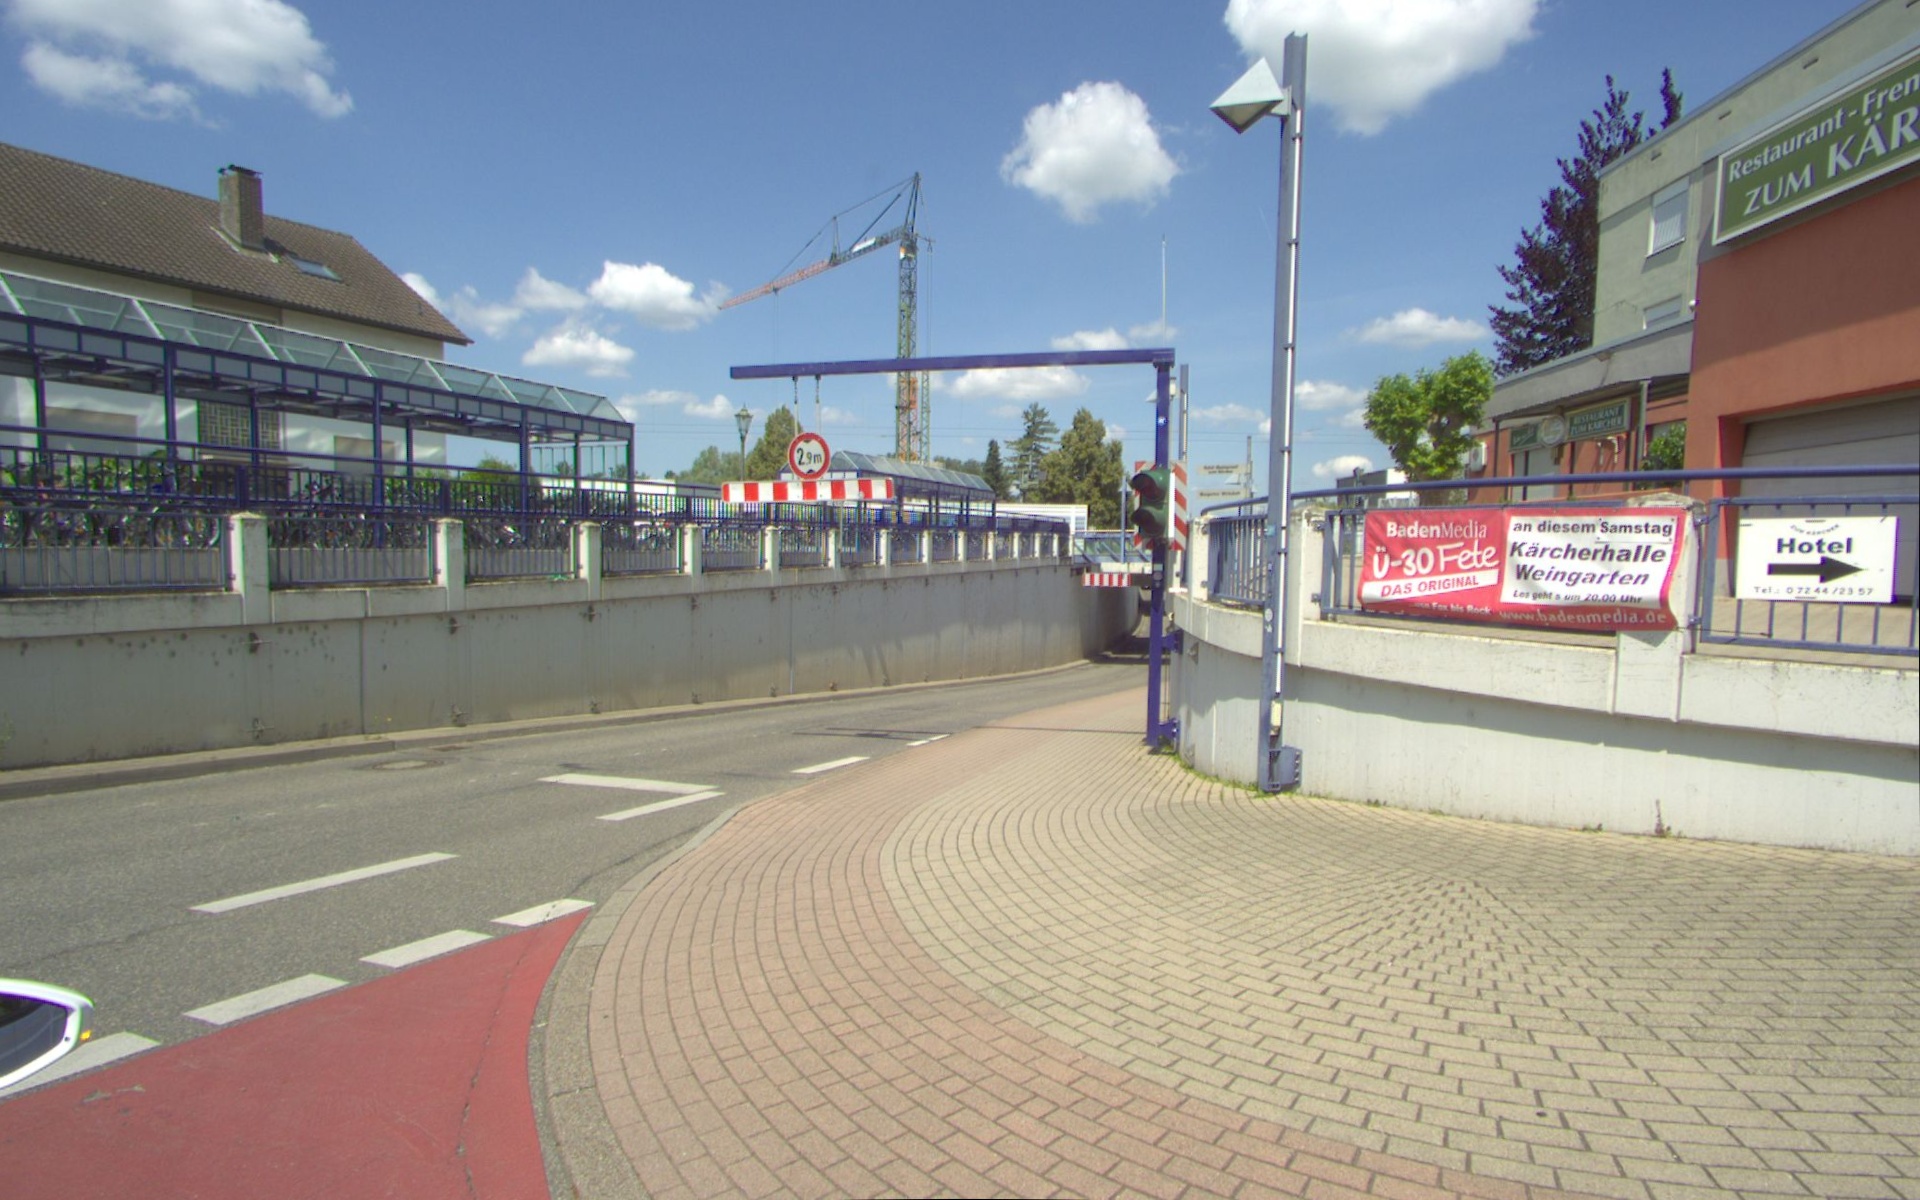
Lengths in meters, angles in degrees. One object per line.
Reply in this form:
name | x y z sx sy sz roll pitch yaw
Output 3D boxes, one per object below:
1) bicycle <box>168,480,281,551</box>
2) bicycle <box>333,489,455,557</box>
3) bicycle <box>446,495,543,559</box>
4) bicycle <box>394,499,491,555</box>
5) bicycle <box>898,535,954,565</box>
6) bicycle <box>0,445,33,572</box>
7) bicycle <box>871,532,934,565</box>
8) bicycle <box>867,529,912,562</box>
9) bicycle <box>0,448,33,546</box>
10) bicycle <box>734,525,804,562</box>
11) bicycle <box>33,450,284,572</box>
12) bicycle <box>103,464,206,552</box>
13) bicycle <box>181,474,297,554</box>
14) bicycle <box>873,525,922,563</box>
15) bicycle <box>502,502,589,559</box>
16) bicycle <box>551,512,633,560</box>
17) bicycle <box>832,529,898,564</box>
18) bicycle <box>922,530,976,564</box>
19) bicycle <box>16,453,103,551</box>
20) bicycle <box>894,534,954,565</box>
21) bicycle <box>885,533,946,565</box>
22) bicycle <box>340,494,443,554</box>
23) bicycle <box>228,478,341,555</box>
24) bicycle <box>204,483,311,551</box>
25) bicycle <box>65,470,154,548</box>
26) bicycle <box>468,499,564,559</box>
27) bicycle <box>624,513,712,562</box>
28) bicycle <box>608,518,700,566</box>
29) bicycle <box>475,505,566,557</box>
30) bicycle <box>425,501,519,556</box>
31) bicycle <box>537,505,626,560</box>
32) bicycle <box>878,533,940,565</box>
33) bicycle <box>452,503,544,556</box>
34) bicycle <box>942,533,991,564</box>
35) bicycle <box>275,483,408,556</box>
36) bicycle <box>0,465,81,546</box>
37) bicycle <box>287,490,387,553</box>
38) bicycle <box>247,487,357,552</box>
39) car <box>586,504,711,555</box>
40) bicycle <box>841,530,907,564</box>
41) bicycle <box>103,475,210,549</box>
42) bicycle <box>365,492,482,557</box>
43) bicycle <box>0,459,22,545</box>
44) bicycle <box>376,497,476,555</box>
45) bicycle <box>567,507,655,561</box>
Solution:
bicycle | -11.175 -1.278 15.202 1.932 1.008 0.473 2 3 23
bicycle | -8.867 -1.203 15.658 2.152 1.008 0.532 2 3 26
bicycle | -7.956 -1.232 17.075 2.159 1.008 0.576 3 3 37
bicycle | -9.739 -1.374 18.848 1.932 1.008 0.519 2 3 23
bicycle | -1.178 -1.737 34.655 1.889 1.008 0.510 2 3 20
bicycle | -9.097 -0.810 8.307 0.327 1.141 2.115 2 2 22
bicycle | -1.879 -1.679 32.558 1.990 1.008 0.510 2 3 20
bicycle | -2.531 -1.950 35.819 1.573 1.174 0.385 2 3 21
bicycle | -10.920 -1.117 10.944 2.040 1.008 0.332 2 3 23
bicycle | -5.547 -1.643 29.069 1.990 1.008 0.510 2 3 20
bicycle | -8.254 -0.867 10.457 0.385 1.141 2.115 2 2 22
bicycle | -9.982 -1.112 12.382 2.073 1.008 0.434 3 3 35
bicycle | -9.740 -1.147 13.500 2.247 1.008 0.434 3 3 32
bicycle | -2.000 -1.788 31.705 1.577 1.174 0.427 3 3 32
bicycle | -7.703 -1.280 18.563 2.011 1.008 0.514 3 3 36
bicycle | -8.120 -1.417 22.073 2.007 1.008 0.543 3 3 30
bicycle | -2.882 -1.628 30.468 1.990 1.008 0.436 2 3 20
bicycle | -0.395 -1.914 36.258 1.889 1.174 0.510 2 3 21
bicycle | -10.251 -1.082 11.376 2.076 1.008 0.433 3 3 40
bicycle | -1.229 -1.716 34.025 1.990 1.008 0.510 2 3 20
bicycle | -1.490 -1.706 33.577 1.990 1.008 0.510 2 3 20
bicycle | -9.953 -1.332 17.523 1.932 1.008 0.519 2 3 23
bicycle | -9.479 -1.159 14.022 2.247 1.008 0.434 3 3 32
bicycle | -10.973 -1.288 15.635 1.932 1.008 0.414 2 3 23
bicycle | -11.764 -1.242 13.835 1.937 1.008 0.372 3 3 33
bicycle | -7.950 -1.262 17.905 2.008 1.008 0.514 3 3 31
bicycle | -6.358 -1.363 21.784 2.006 1.008 0.543 3 3 27
bicycle | -6.678 -1.272 21.825 2.125 1.008 0.436 2 3 23
bicycle | -8.979 -1.413 20.429 1.932 1.008 0.519 2 3 23
bicycle | -9.458 -1.387 19.394 1.932 1.008 0.519 2 3 23
bicycle | -7.264 -1.291 19.176 2.009 1.008 0.514 3 3 33
bicycle | -1.694 -1.693 33.080 1.990 1.008 0.510 2 3 20
bicycle | -9.197 -1.400 19.923 1.932 1.008 0.519 2 3 23
bicycle | 0.250 -1.979 38.514 1.791 1.174 0.510 2 3 21
bicycle | -9.084 -1.173 14.684 2.243 1.008 0.532 2 3 26
bicycle | -12.239 -1.233 13.252 1.937 1.008 0.372 3 3 33
bicycle | -10.557 -1.327 16.972 1.771 1.008 0.519 2 3 23
bicycle | -10.714 -1.306 16.303 1.932 1.008 0.519 2 3 23
car | -11.261 -2.538 36.255 3.929 1.701 1.995 2 3 19
bicycle | -2.683 -1.644 31.054 1.990 1.008 0.510 2 3 20
bicycle | -11.637 -1.263 14.483 1.934 1.008 0.426 3 3 26
bicycle | -8.793 -1.228 16.383 2.152 1.008 0.532 2 3 26
bicycle | -12.195 -1.201 12.395 1.937 1.008 0.372 3 3 33
bicycle | -9.730 -1.352 18.228 1.932 1.008 0.519 2 3 23
bicycle | -6.973 -1.312 19.943 2.009 1.008 0.542 3 3 33
